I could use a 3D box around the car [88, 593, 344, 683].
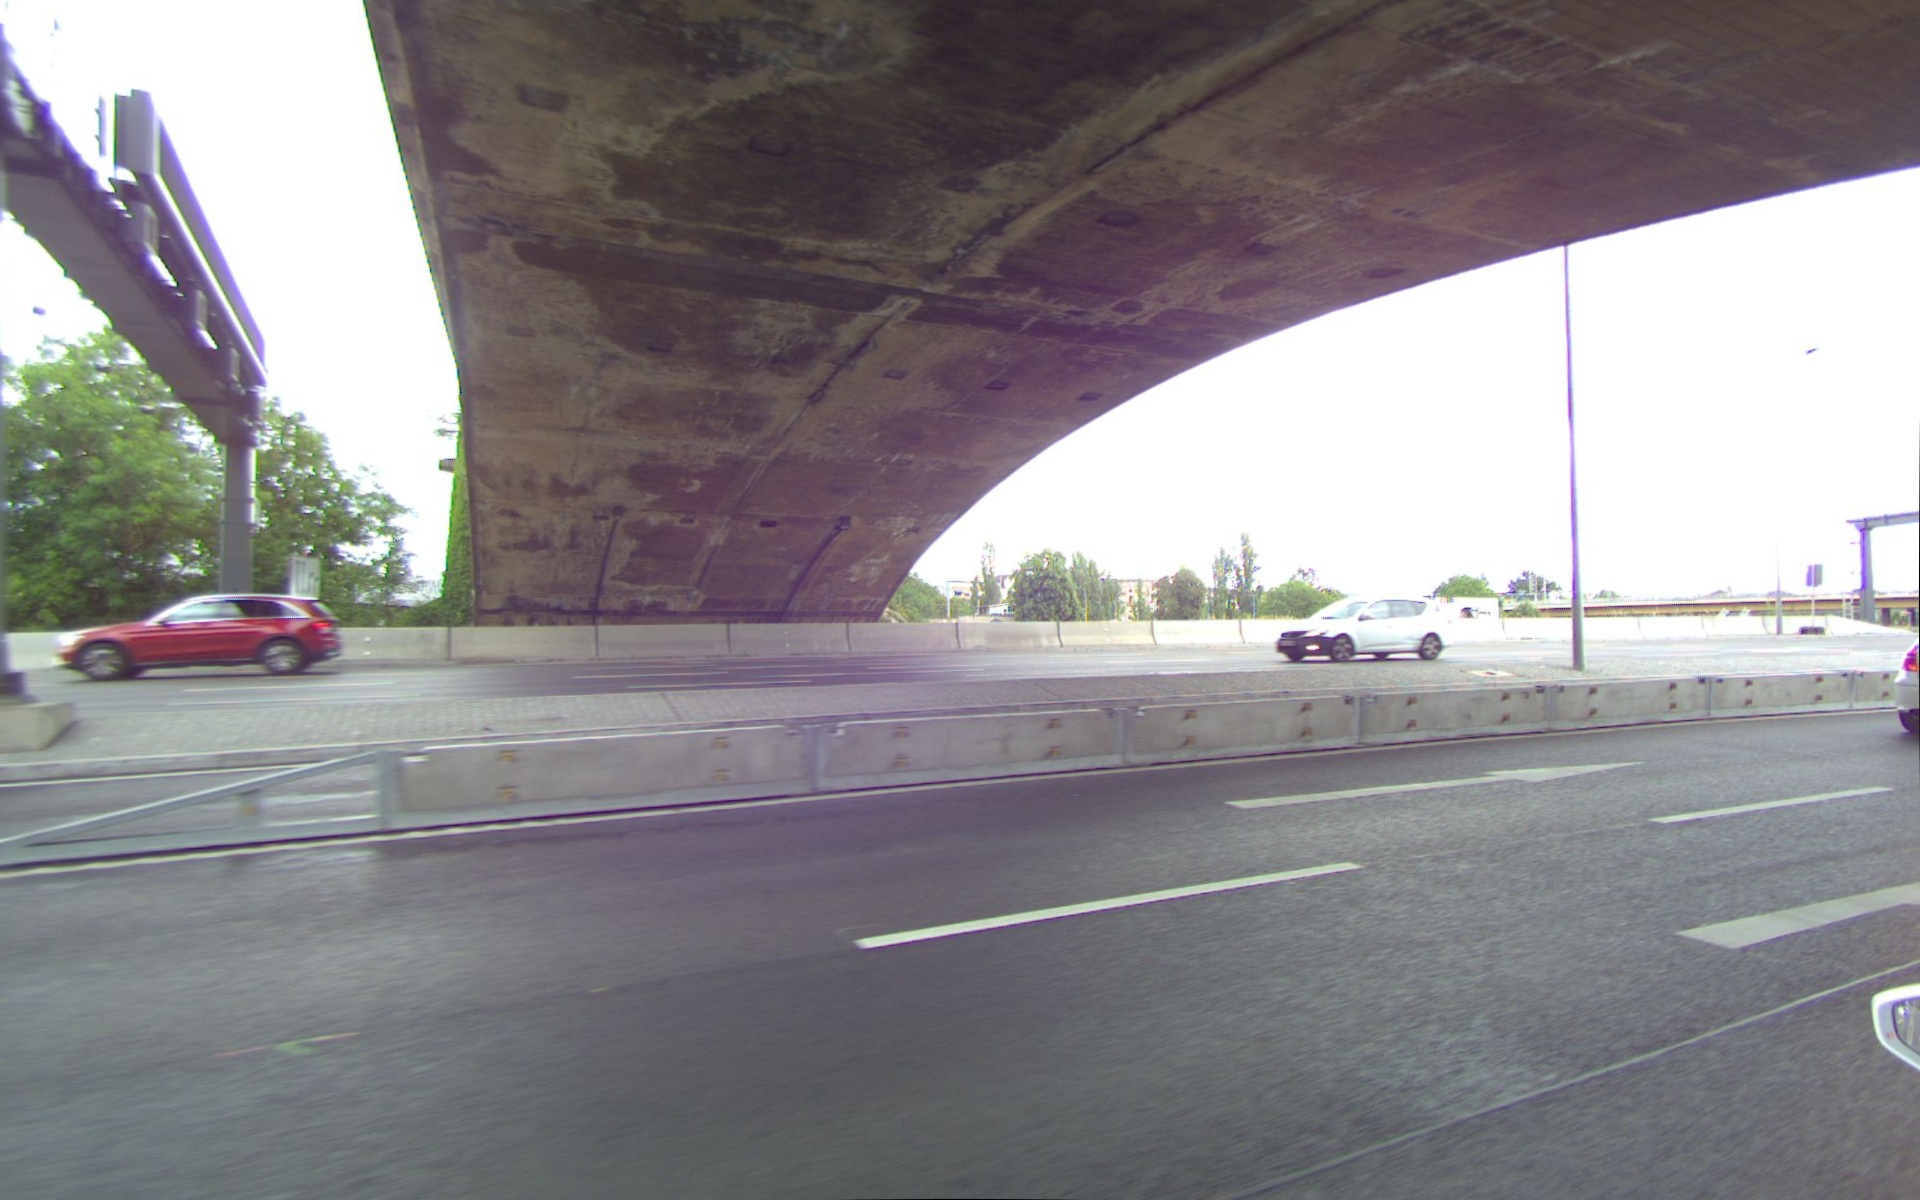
[{"bbox_3d":[-15.089,0.724,20.652,3.945,1.638,1.692,-1,0,-27],"label":"car"}]

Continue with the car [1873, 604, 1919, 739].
[{"bbox_3d":[12.408,0.762,11.296,3.923,1.452,1.635,-1,1,-22],"label":"car"}]

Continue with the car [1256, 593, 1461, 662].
[{"bbox_3d":[9.468,0.616,23.895,4.474,1.506,1.853,-1,-1,-21],"label":"car"}]
